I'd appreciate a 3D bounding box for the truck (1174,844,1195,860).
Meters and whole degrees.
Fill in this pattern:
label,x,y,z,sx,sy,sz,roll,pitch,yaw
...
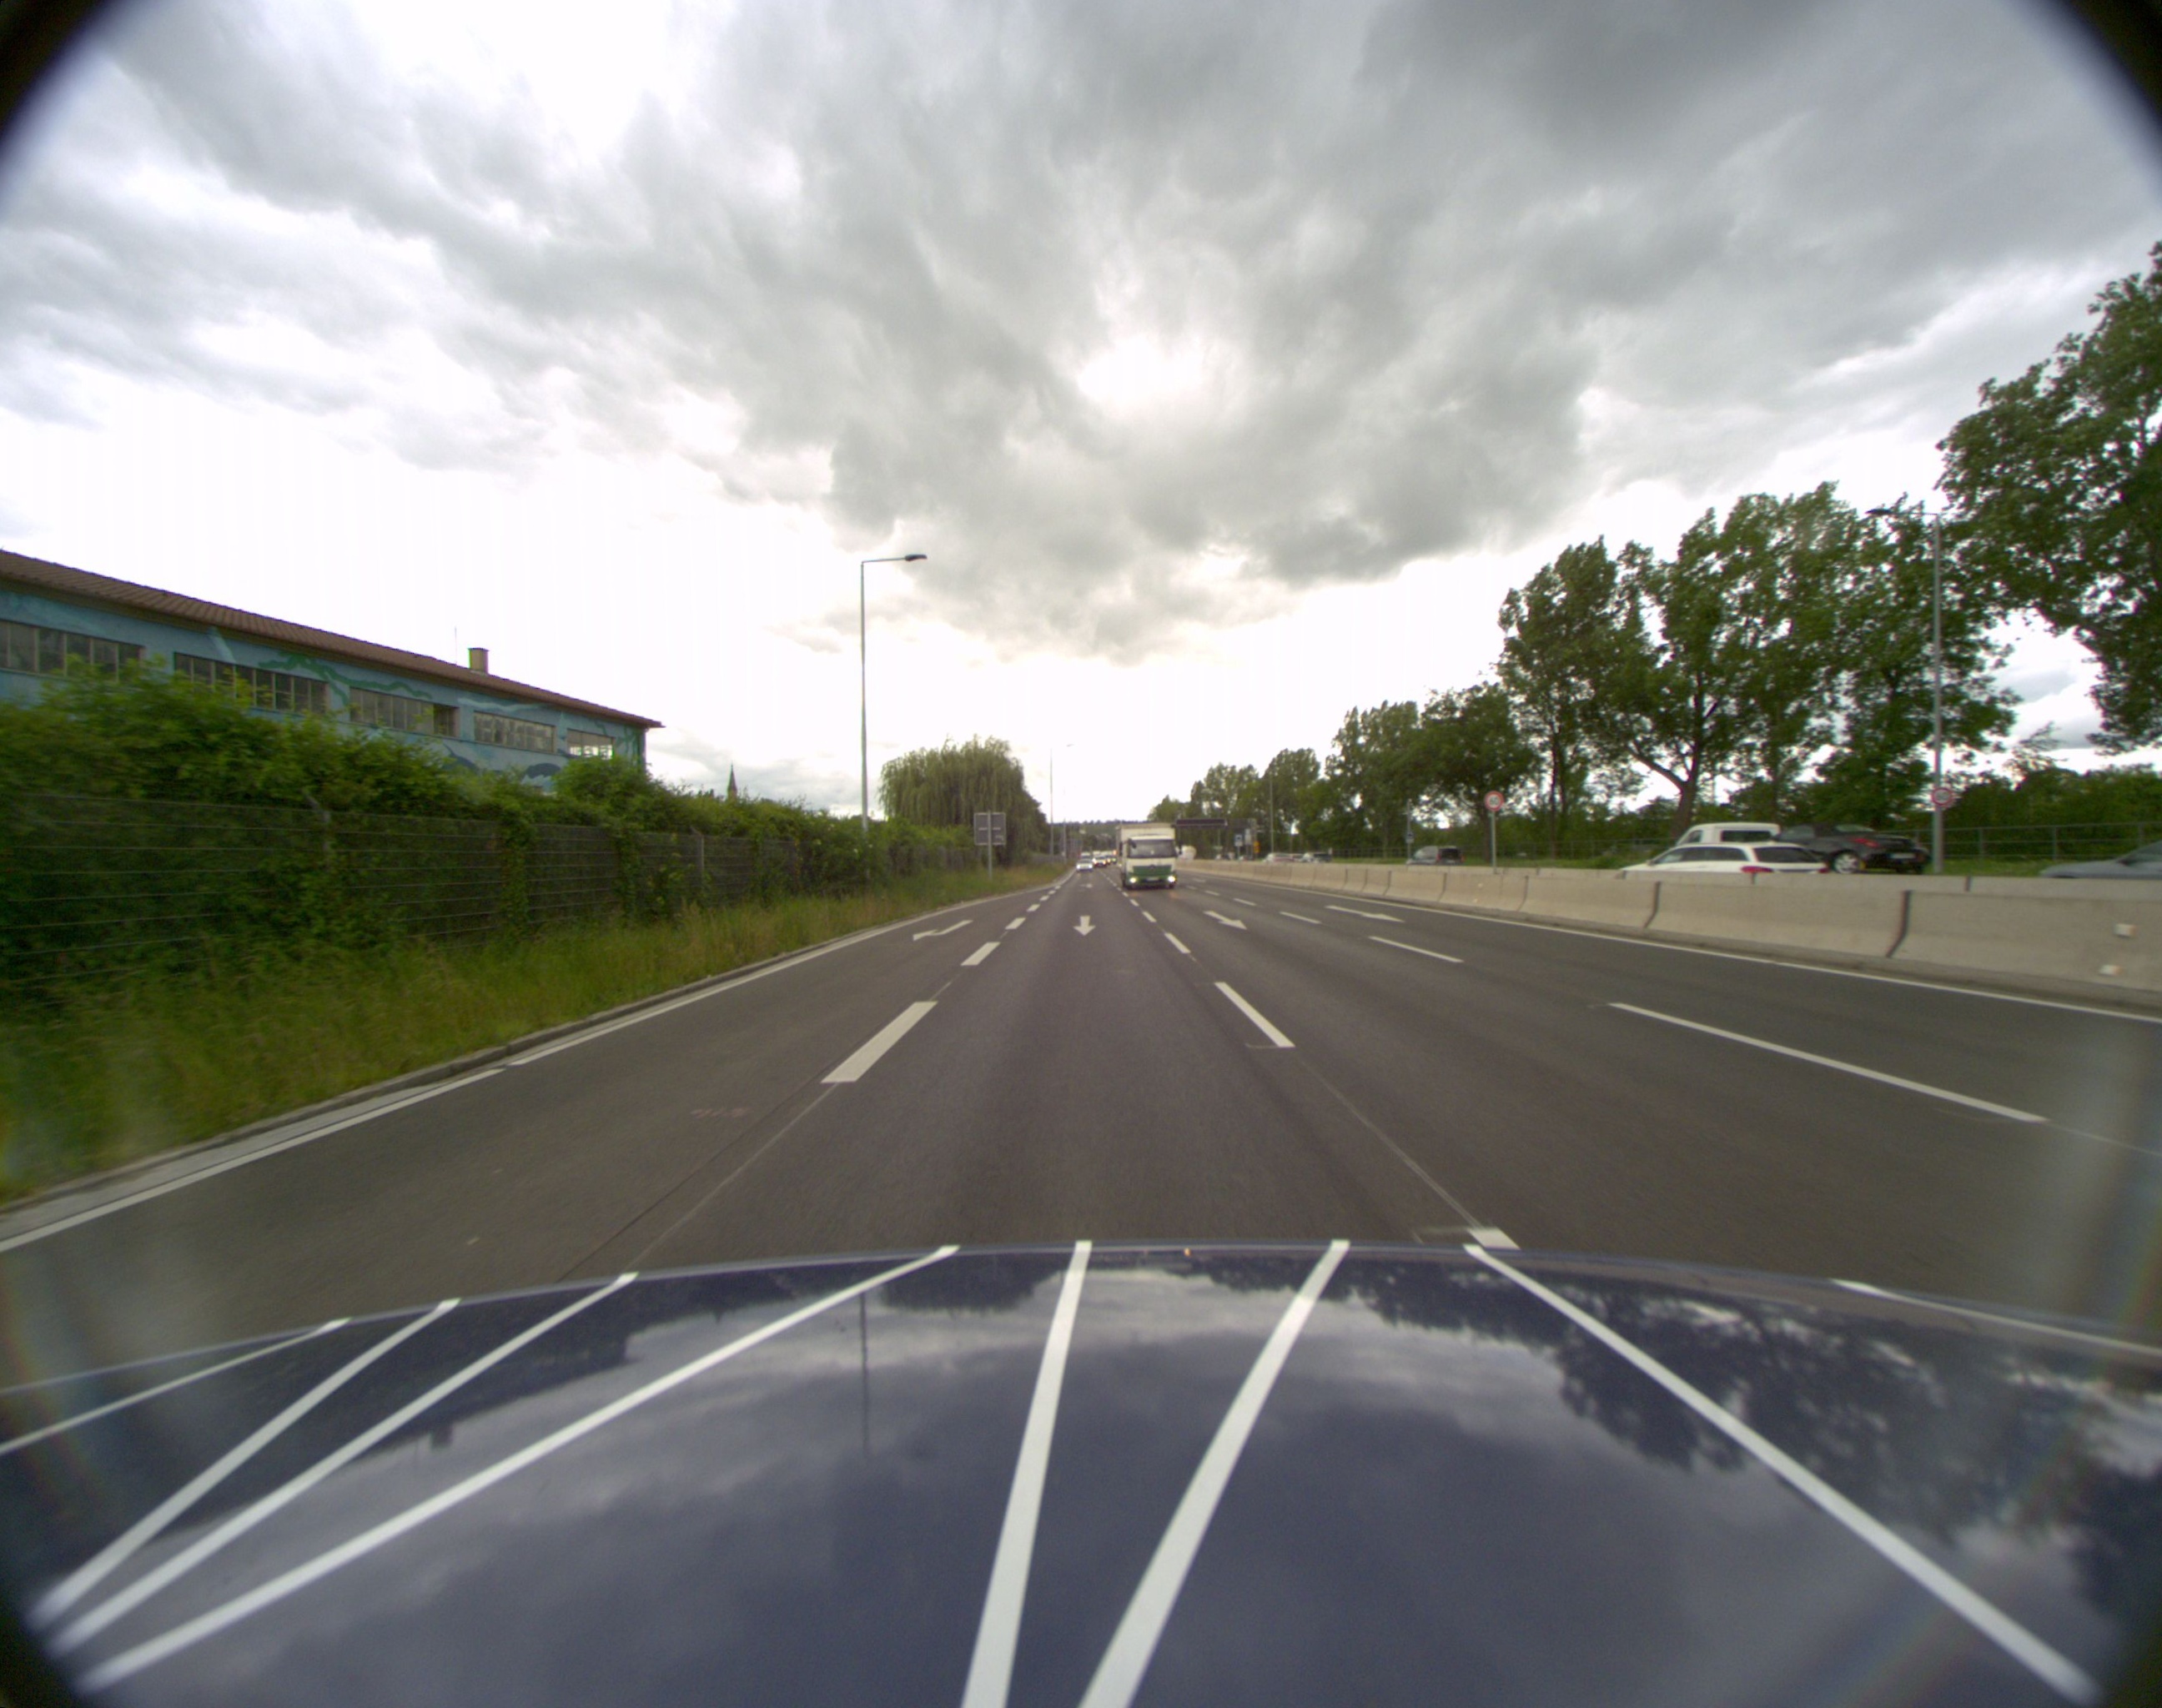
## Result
label,x,y,z,sx,sy,sz,roll,pitch,yaw
truck,21.293,-0.363,156.655,3.106,3.200,5.391,-3,0,-2

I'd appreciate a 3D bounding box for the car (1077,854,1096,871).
label,x,y,z,sx,sy,sz,roll,pitch,yaw
car,0.624,1.007,87.992,1.998,1.849,4.000,-3,0,0

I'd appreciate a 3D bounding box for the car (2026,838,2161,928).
label,x,y,z,sx,sy,sz,roll,pitch,yaw
car,21.959,0.550,14.618,1.998,1.674,4.412,-3,0,0

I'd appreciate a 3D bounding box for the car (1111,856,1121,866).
label,x,y,z,sx,sy,sz,roll,pitch,yaw
car,7.302,1.439,158.530,1.998,2.002,4.000,-3,0,1

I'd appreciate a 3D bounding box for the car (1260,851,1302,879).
label,x,y,z,sx,sy,sz,roll,pitch,yaw
car,15.602,0.861,59.502,1.998,2.002,4.681,-3,0,1

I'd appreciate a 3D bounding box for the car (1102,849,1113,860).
label,x,y,z,sx,sy,sz,roll,pitch,yaw
car,4.988,0.108,143.054,1.998,2.002,4.000,-3,0,0

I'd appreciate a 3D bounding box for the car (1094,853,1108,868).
label,x,y,z,sx,sy,sz,roll,pitch,yaw
car,2.964,0.961,113.242,1.998,2.002,4.000,-3,0,0

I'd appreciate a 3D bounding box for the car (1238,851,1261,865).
label,x,y,z,sx,sy,sz,roll,pitch,yaw
car,22.137,0.568,99.976,1.998,1.728,4.470,-3,0,1

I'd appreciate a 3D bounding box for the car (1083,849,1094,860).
label,x,y,z,sx,sy,sz,roll,pitch,yaw
car,1.426,0.051,147.989,1.998,2.002,4.000,-3,0,0

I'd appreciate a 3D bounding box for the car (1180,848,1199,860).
label,x,y,z,sx,sy,sz,roll,pitch,yaw
car,15.875,-0.014,111.665,1.998,1.550,4.885,-3,0,0

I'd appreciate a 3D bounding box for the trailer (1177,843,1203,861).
label,x,y,z,sx,sy,sz,roll,pitch,yaw
trailer,21.431,-0.406,150.261,3.109,3.201,11.667,-3,0,-2

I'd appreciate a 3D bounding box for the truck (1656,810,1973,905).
label,x,y,z,sx,sy,sz,roll,pitch,yaw
truck,18.823,0.100,20.185,2.210,2.002,6.302,-3,0,-1

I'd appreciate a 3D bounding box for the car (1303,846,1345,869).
label,x,y,z,sx,sy,sz,roll,pitch,yaw
car,19.113,0.299,59.955,1.882,1.673,4.126,-3,0,1

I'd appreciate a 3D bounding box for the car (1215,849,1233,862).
label,x,y,z,sx,sy,sz,roll,pitch,yaw
car,21.314,0.272,113.366,1.998,1.728,4.304,-3,0,1

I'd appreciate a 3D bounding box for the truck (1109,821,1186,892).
label,x,y,z,sx,sy,sz,roll,pitch,yaw
truck,3.166,0.135,38.403,2.943,3.064,8.387,-3,0,0

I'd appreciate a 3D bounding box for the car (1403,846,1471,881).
label,x,y,z,sx,sy,sz,roll,pitch,yaw
car,22.440,0.590,48.128,1.998,2.002,4.937,-3,0,1

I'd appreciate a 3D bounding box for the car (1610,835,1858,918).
label,x,y,z,sx,sy,sz,roll,pitch,yaw
car,15.647,0.491,18.646,1.998,1.658,4.695,-3,0,0

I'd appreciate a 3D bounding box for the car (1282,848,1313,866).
label,x,y,z,sx,sy,sz,roll,pitch,yaw
car,22.124,0.317,77.812,1.882,1.673,4.122,-3,0,1
